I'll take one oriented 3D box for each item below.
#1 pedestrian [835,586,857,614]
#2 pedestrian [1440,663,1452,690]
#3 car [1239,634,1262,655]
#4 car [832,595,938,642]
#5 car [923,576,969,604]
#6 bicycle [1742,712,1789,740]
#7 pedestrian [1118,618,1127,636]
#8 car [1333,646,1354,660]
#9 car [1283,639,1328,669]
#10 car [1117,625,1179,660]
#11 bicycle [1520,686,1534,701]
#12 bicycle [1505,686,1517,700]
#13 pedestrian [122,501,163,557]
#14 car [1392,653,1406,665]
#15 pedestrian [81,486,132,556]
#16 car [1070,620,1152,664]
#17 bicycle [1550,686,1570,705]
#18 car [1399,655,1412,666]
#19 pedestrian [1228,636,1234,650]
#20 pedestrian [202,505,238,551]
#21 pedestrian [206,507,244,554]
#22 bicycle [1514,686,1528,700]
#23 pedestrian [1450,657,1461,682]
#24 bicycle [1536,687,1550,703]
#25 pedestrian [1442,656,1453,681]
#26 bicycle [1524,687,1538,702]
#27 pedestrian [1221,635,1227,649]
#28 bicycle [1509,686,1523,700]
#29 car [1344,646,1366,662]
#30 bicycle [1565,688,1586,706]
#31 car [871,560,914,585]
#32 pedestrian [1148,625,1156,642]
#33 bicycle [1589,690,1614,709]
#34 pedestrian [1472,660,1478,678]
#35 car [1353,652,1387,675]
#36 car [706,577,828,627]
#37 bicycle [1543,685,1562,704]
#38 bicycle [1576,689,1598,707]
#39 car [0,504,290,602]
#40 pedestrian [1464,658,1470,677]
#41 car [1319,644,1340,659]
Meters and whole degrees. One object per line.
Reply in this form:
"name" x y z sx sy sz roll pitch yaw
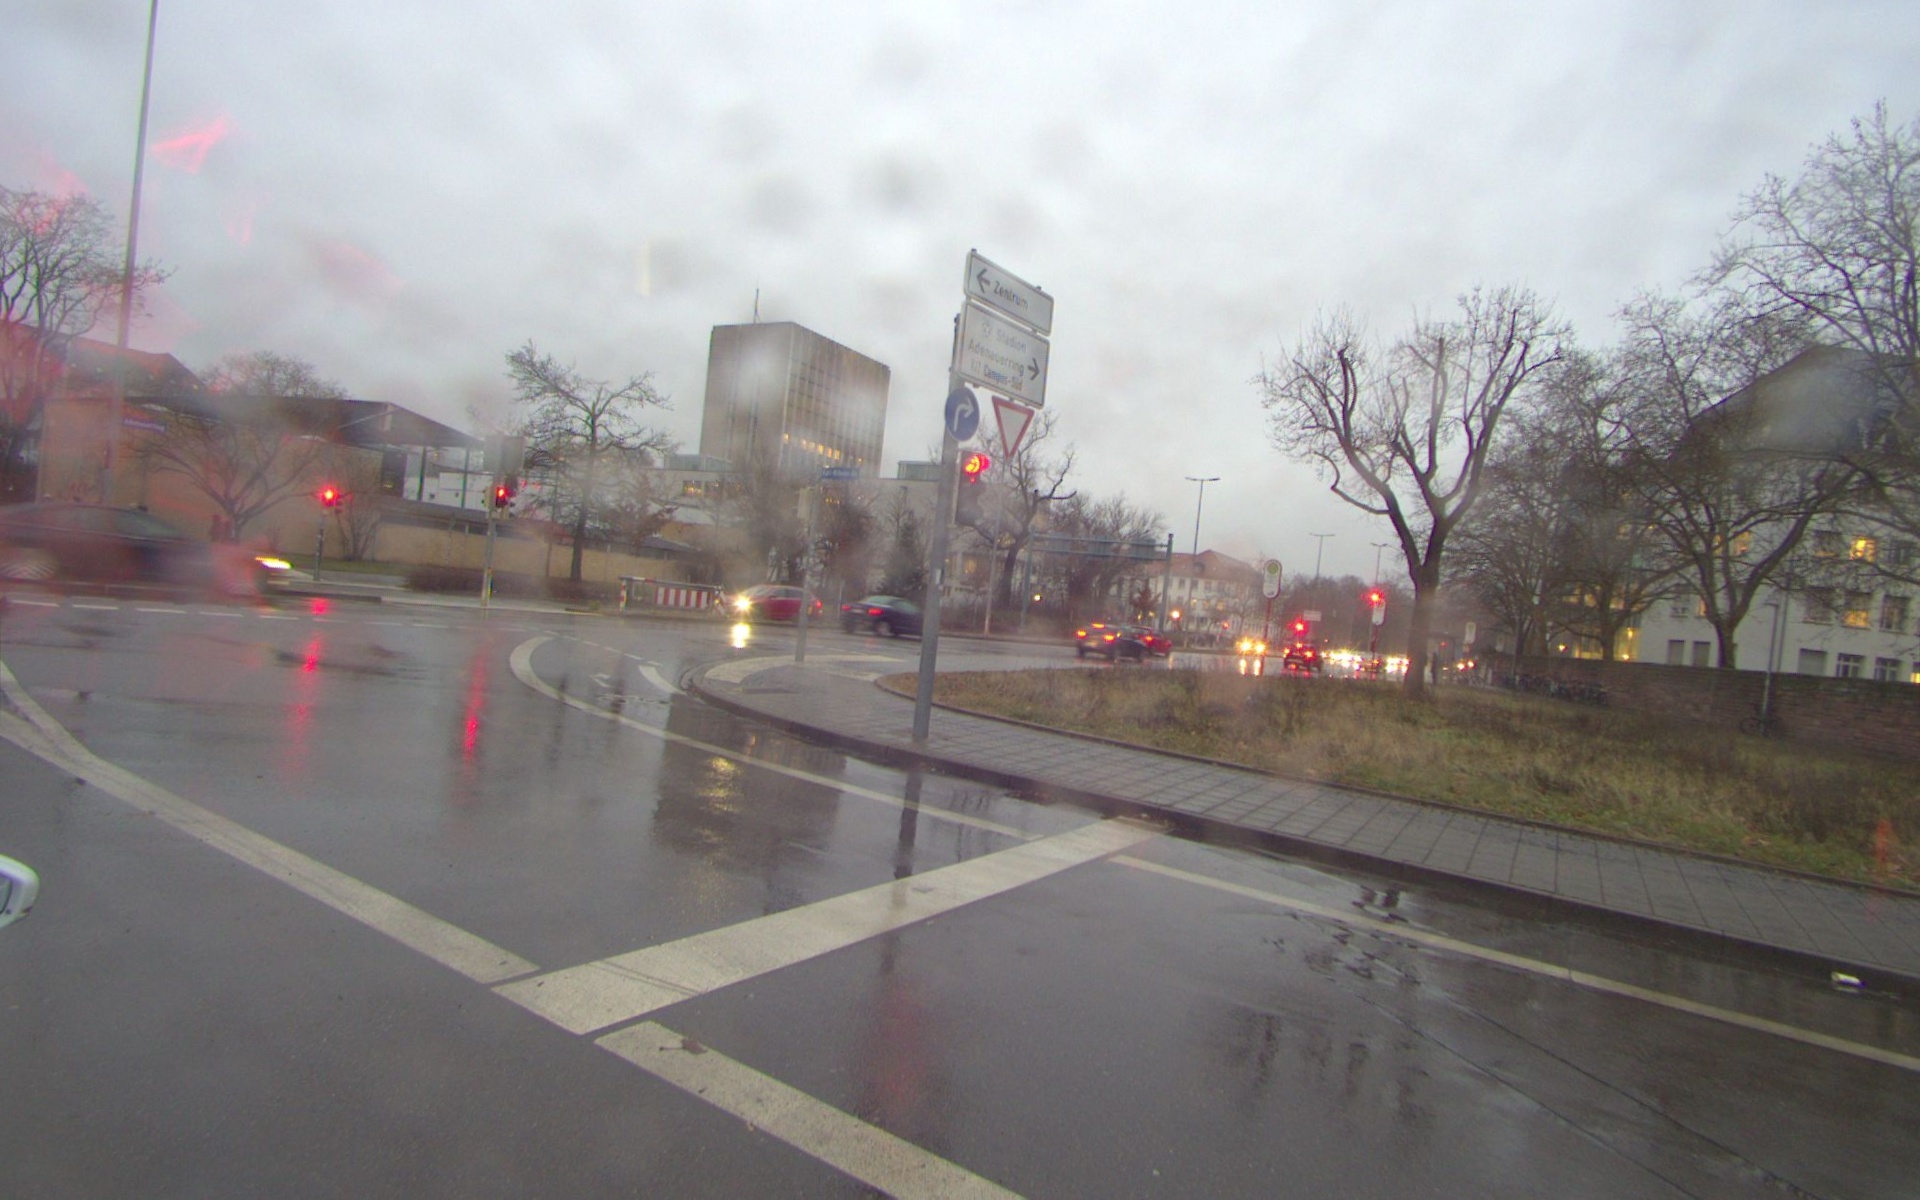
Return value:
"pedestrian" -7.237 -0.003 63.635 0.783 1.624 0.960 8 2 39
"pedestrian" 30.154 4.734 62.421 0.462 1.623 0.486 7 -1 25
"car" 30.118 4.561 104.107 2.009 1.903 5.337 6 0 18
"car" -2.566 0.686 35.211 1.674 1.318 3.756 6 0 34
"car" -1.379 -0.989 103.339 2.014 2.452 5.326 6 0 30
"bicycle" 28.203 4.400 35.228 0.387 0.834 1.386 7 -2 -4
"pedestrian" 15.416 2.560 95.413 0.411 1.725 0.430 8 3 44
"car" 53.432 7.397 140.177 1.966 1.783 3.992 7 1 29
"car" 23.447 3.678 68.209 1.811 1.710 4.313 6 -1 33
"car" 10.261 2.327 54.825 1.811 1.602 4.126 6 0 32
"bicycle" 33.325 5.488 59.148 0.387 0.795 1.532 7 -2 20
"bicycle" 34.852 5.867 63.629 0.387 0.795 1.532 7 -2 20
"pedestrian" -28.798 -2.493 35.445 0.992 1.823 0.908 5 2 -41
"car" 76.066 10.177 174.251 1.834 1.783 3.993 7 1 27
"pedestrian" -28.213 -2.608 33.257 0.870 2.141 0.895 7 2 23
"car" 6.516 1.812 42.988 1.811 1.602 4.126 6 0 33
"bicycle" 31.358 4.980 52.559 0.387 0.868 1.532 7 -2 15
"car" 82.435 11.126 186.253 1.834 1.783 3.993 7 1 27
"pedestrian" 33.827 5.370 125.616 0.404 1.713 0.427 7 2 28
"pedestrian" -27.351 -2.648 37.167 0.890 1.553 0.875 5 2 -44
"pedestrian" -26.515 -2.508 36.299 0.921 1.553 1.030 5 2 -42
"bicycle" 33.831 5.615 60.666 0.387 0.795 1.532 7 -2 20
"pedestrian" 41.463 5.818 84.157 0.557 2.040 0.595 8 2 33
"bicycle" 32.414 5.291 55.956 0.387 0.795 1.607 7 -2 22
"pedestrian" 40.948 5.764 84.496 0.557 2.040 0.595 8 2 33
"bicycle" 32.842 5.405 57.869 0.387 0.795 1.532 7 -2 19
"pedestrian" 32.973 5.255 125.670 0.404 1.713 0.561 7 2 28
"bicycle" 34.351 5.743 62.154 0.387 0.795 1.532 7 -2 20
"car" 51.649 7.073 131.494 1.966 1.783 3.992 7 1 29
"bicycle" 31.039 4.876 50.747 0.343 0.848 1.493 7 -2 13
"car" -7.104 -2.912 106.454 2.014 2.102 4.892 6 0 30
"pedestrian" 19.950 3.437 104.506 0.411 1.725 0.430 8 3 44
"bicycle" 30.276 4.673 47.479 0.352 0.795 1.415 7 -2 8
"pedestrian" 52.158 6.957 101.836 0.313 1.816 0.461 7 2 32
"car" 34.293 5.292 84.055 1.811 1.710 4.311 6 0 32
"car" -7.267 0.118 38.181 1.784 1.496 4.411 6 0 37
"bicycle" 31.843 5.075 54.090 0.387 0.927 1.532 7 -2 15
"bicycle" 30.550 4.770 49.003 0.387 0.795 1.533 7 -2 14
"car" -15.420 -0.862 18.594 1.912 1.318 4.675 6 0 41
"pedestrian" 51.764 6.897 102.790 0.313 1.816 0.461 7 2 32
"car" 49.291 6.866 134.150 1.966 1.783 3.992 7 1 29
